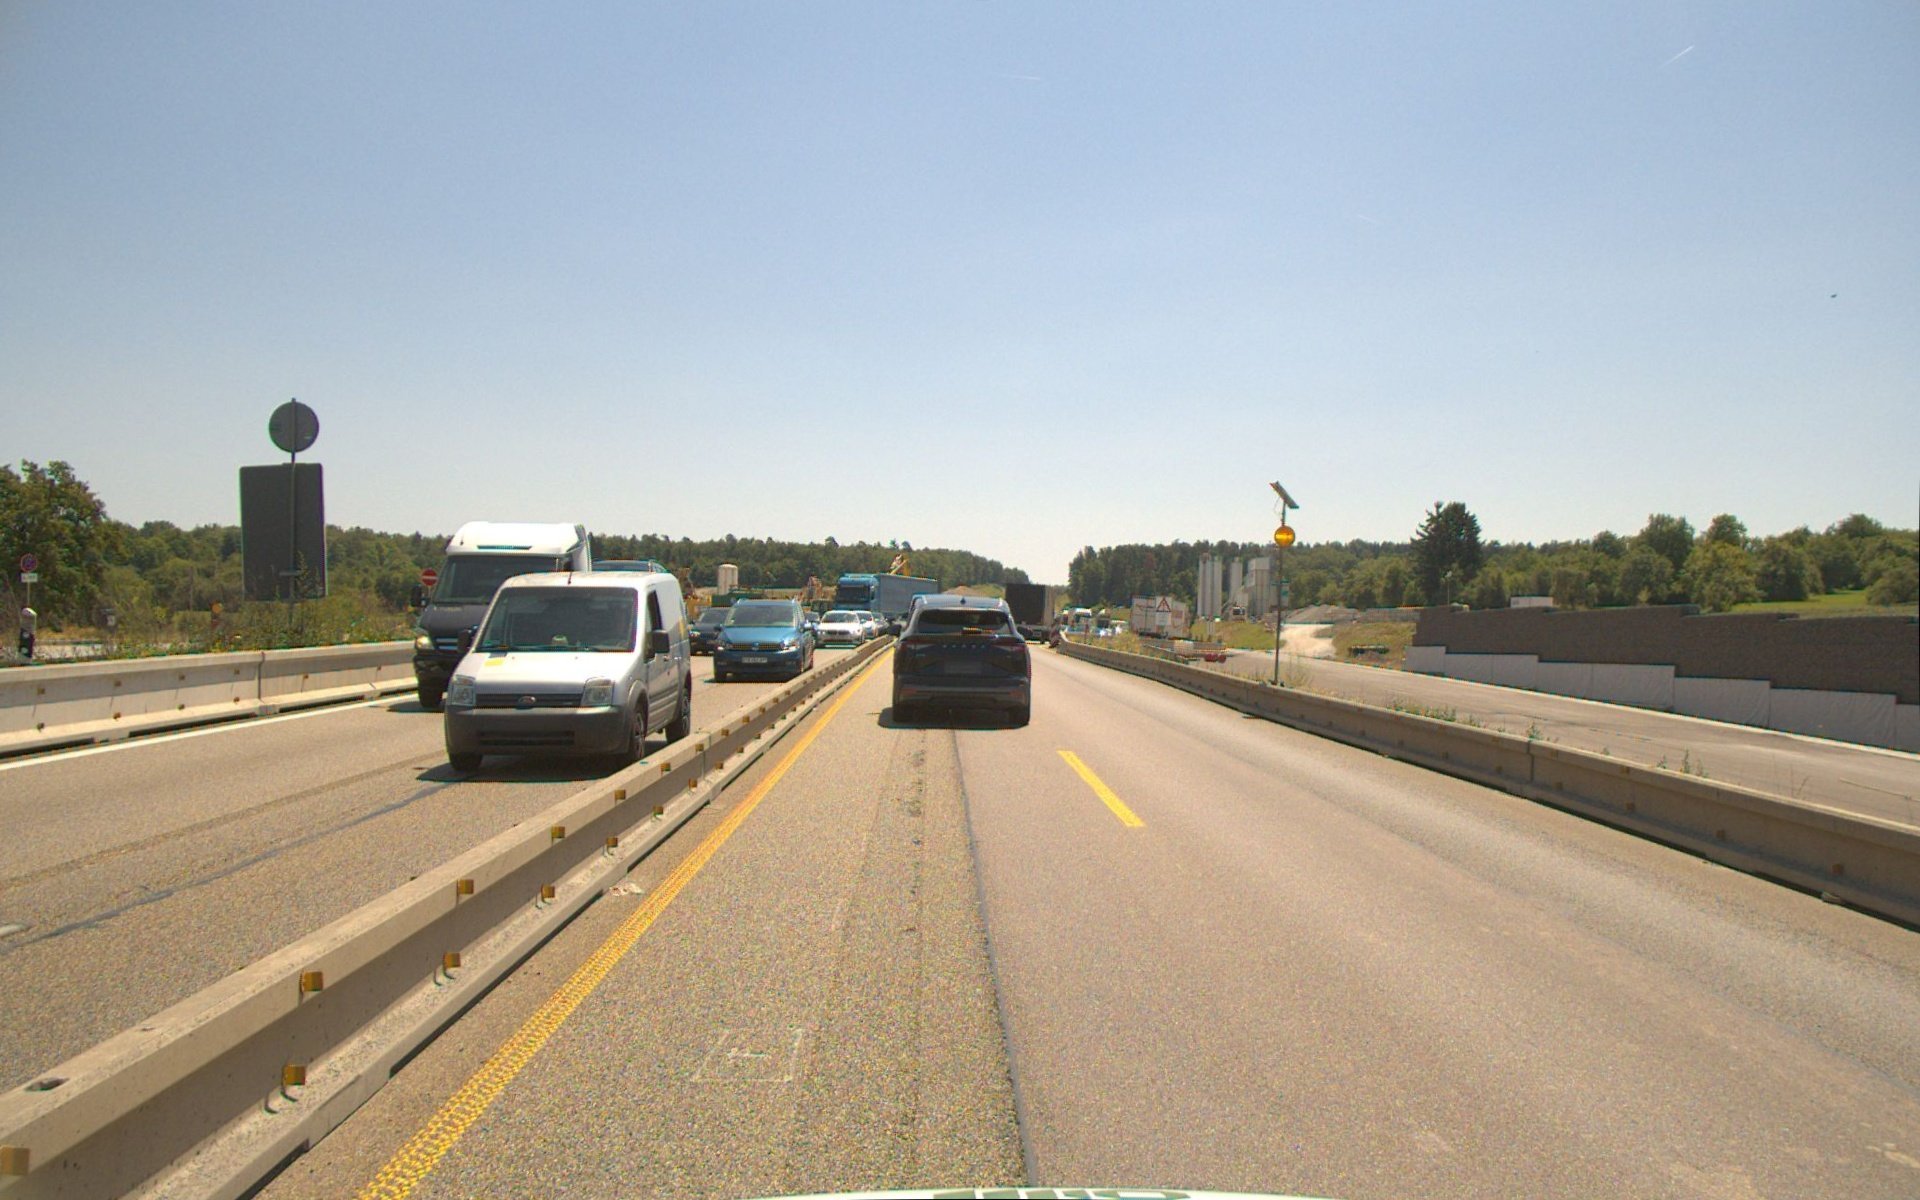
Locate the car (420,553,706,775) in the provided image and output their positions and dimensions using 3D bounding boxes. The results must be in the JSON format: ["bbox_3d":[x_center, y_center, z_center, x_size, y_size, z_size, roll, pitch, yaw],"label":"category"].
[{"bbox_3d":[-3.722,0.514,16.353,1.816,1.872,4.590,1,1,-2],"label":"car"}]

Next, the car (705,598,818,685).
[{"bbox_3d":[-4.015,0.801,34.005,1.866,1.637,4.000,1,1,-1],"label":"car"}]

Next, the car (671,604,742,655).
[{"bbox_3d":[-7.850,0.896,51.573,1.653,1.478,4.334,0,0,-2],"label":"car"}]

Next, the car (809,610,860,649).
[{"bbox_3d":[-4.832,1.118,64.029,1.780,1.400,4.246,0,0,-2],"label":"car"}]

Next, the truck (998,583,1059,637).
[{"bbox_3d":[3.977,0.523,95.311,2.616,2.997,5.625,1,0,11],"label":"truck"}]

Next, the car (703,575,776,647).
[{"bbox_3d":[-7.810,0.375,59.135,1.875,2.441,6.450,0,0,-2],"label":"car"}]

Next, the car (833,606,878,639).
[{"bbox_3d":[-5.025,1.064,80.042,1.975,1.470,4.586,1,1,-2],"label":"car"}]

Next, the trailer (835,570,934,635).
[{"bbox_3d":[-5.093,0.259,115.469,2.852,4.201,13.925,1,-1,15],"label":"trailer"}]

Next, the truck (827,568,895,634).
[{"bbox_3d":[-6.491,0.116,109.521,2.852,4.201,6.143,1,-1,13],"label":"truck"}]

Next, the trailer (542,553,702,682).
[{"bbox_3d":[-6.682,0.302,33.328,2.137,2.355,5.613,1,0,-1],"label":"trailer"}]

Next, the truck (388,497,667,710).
[{"bbox_3d":[-6.570,0.052,26.457,2.429,2.873,8.127,0,0,-1],"label":"truck"}]

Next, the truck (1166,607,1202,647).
[{"bbox_3d":[26.660,3.196,196.607,3.403,4.292,10.384,6,0,10],"label":"truck"}]

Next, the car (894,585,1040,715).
[{"bbox_3d":[0.074,0.689,22.427,1.805,1.610,3.999,0,-2,0],"label":"car"}]

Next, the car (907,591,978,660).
[{"bbox_3d":[-0.561,0.744,49.070,1.953,1.876,3.998,2,0,-2],"label":"car"}]

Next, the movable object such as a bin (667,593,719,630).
[{"bbox_3d":[-22.076,0.915,136.863,2.854,2.774,3.313,4,0,-41],"label":"movable object such as a bin"}]

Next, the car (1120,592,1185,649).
[{"bbox_3d":[15.912,1.757,135.817,3.366,4.171,9.200,5,0,17],"label":"car"}]

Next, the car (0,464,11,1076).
[{"bbox_3d":[-3.742,0.535,2.427,1.868,1.836,5.080,1,1,-2],"label":"car"}]

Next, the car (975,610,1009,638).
[{"bbox_3d":[2.086,1.583,107.058,1.782,1.673,3.868,3,-1,6],"label":"car"}]
